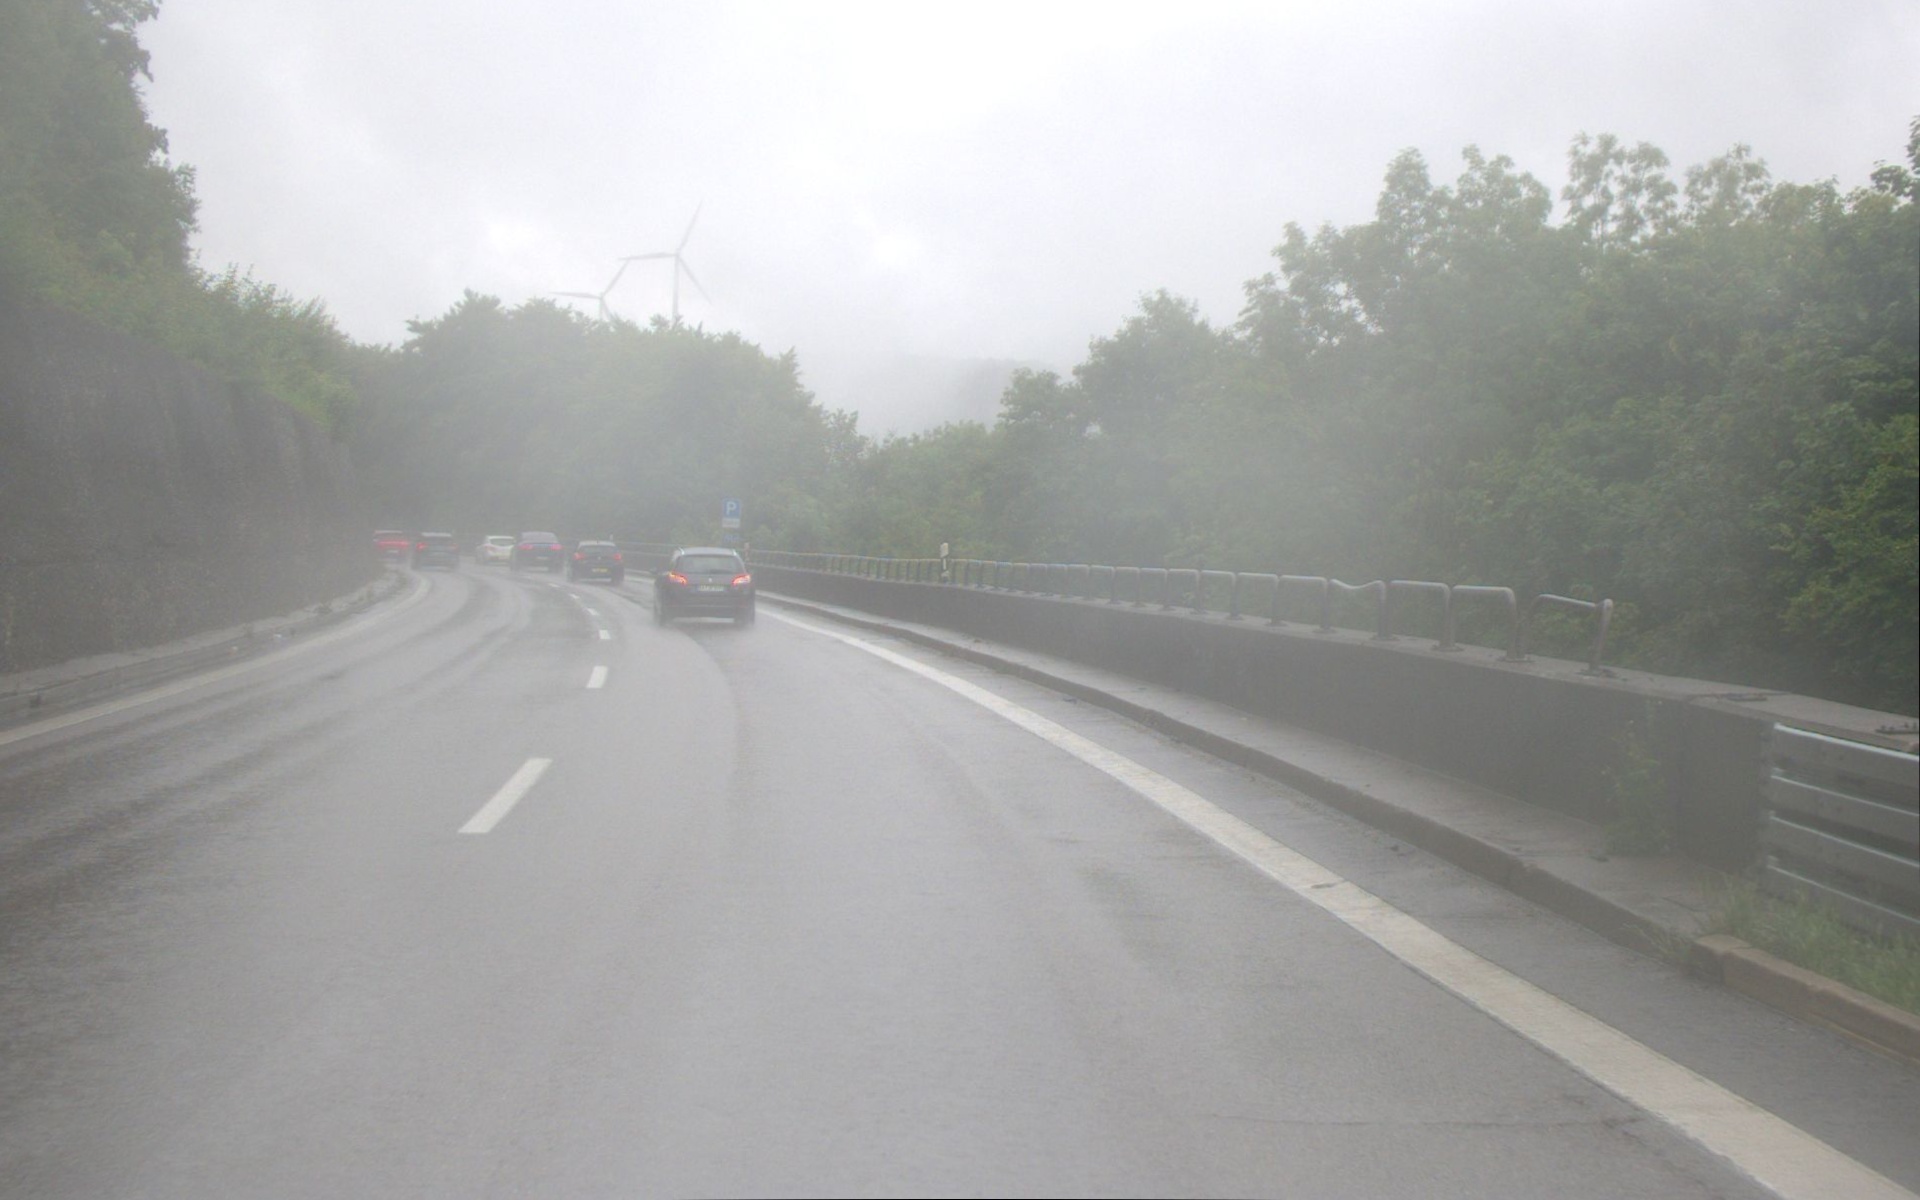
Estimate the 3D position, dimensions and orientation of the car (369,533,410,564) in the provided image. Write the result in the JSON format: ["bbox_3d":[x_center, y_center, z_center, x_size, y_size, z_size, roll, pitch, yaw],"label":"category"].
[{"bbox_3d":[-28.709,-2.579,172.941,1.903,1.494,4.001,1,1,-10],"label":"car"}]

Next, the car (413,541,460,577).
[{"bbox_3d":[-22.077,-1.744,145.196,1.903,1.494,4.001,1,1,-8],"label":"car"}]

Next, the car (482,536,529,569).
[{"bbox_3d":[-22.009,-2.310,166.543,1.903,1.494,4.001,1,1,-12],"label":"car"}]

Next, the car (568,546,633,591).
[{"bbox_3d":[-12.478,-1.104,119.206,1.903,1.494,4.001,1,1,-10],"label":"car"}]

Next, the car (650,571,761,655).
[{"bbox_3d":[-4.893,0.226,65.653,1.903,1.494,4.001,1,1,-7],"label":"car"}]

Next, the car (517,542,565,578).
[{"bbox_3d":[-18.029,-1.720,147.816,1.903,1.494,4.001,1,1,-8],"label":"car"}]
